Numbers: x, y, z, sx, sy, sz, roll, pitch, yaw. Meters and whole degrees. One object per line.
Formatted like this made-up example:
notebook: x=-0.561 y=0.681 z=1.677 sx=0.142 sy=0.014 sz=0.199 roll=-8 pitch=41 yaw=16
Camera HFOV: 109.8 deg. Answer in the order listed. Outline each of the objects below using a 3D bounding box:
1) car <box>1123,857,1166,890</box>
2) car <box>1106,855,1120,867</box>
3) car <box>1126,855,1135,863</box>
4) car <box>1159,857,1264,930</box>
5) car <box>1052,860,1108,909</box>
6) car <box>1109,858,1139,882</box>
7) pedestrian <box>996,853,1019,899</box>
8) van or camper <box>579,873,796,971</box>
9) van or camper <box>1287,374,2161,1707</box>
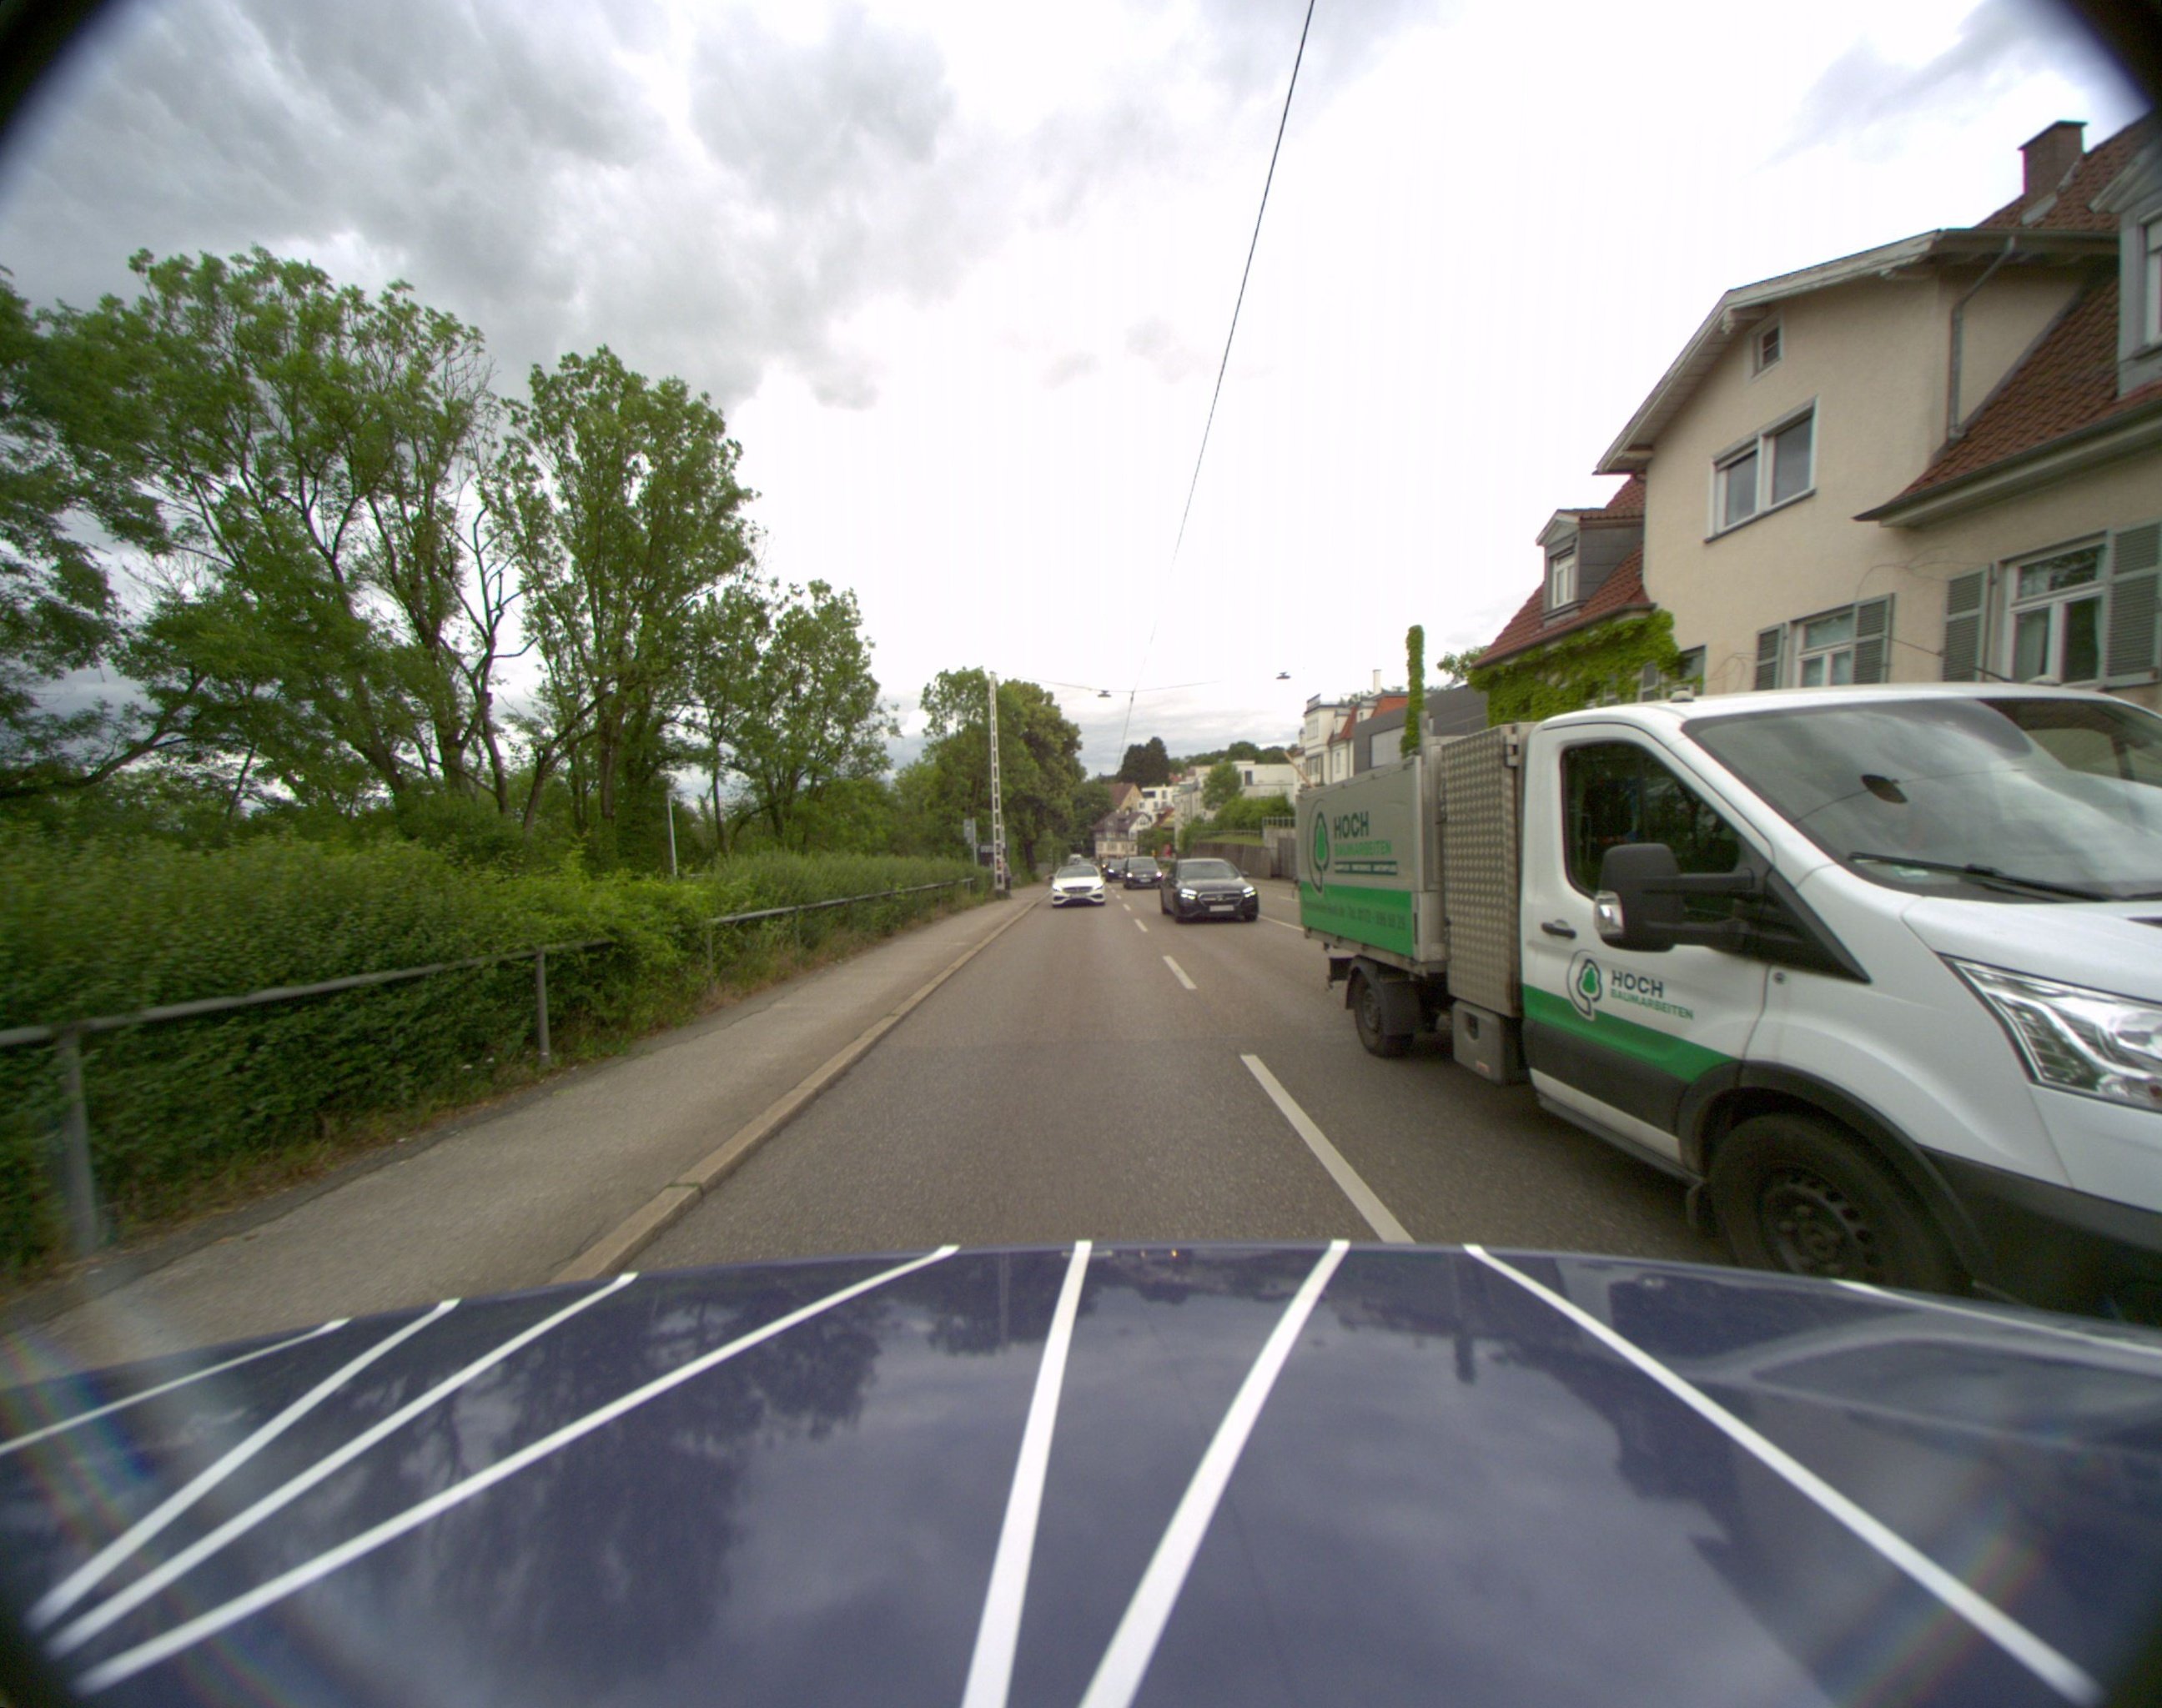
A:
car: x=3.181 y=0.938 z=38.829 sx=1.878 sy=1.521 sz=4.000 roll=-2 pitch=0 yaw=1
car: x=4.063 y=0.873 z=97.034 sx=1.680 sy=1.426 sz=3.713 roll=-1 pitch=1 yaw=2
car: x=10.406 y=1.009 z=159.379 sx=1.709 sy=1.702 sz=3.868 roll=-1 pitch=0 yaw=1
car: x=3.081 y=0.880 z=18.839 sx=1.878 sy=1.521 sz=4.335 roll=-2 pitch=0 yaw=1
car: x=-0.006 y=1.004 z=26.673 sx=1.809 sy=1.521 sz=4.000 roll=-1 pitch=0 yaw=1
car: x=2.909 y=1.042 z=51.941 sx=1.878 sy=1.521 sz=4.000 roll=-2 pitch=0 yaw=1
pedestrian: x=-3.065 y=0.904 z=31.826 sx=0.814 sy=1.873 sz=0.949 roll=0 pitch=0 yaw=5
van or camper: x=-11.043 y=1.763 z=22.119 sx=2.220 sy=2.316 sz=6.185 roll=0 pitch=0 yaw=11
van or camper: x=3.071 y=0.367 z=3.922 sx=2.349 sy=2.647 sz=5.962 roll=-3 pitch=2 yaw=0
